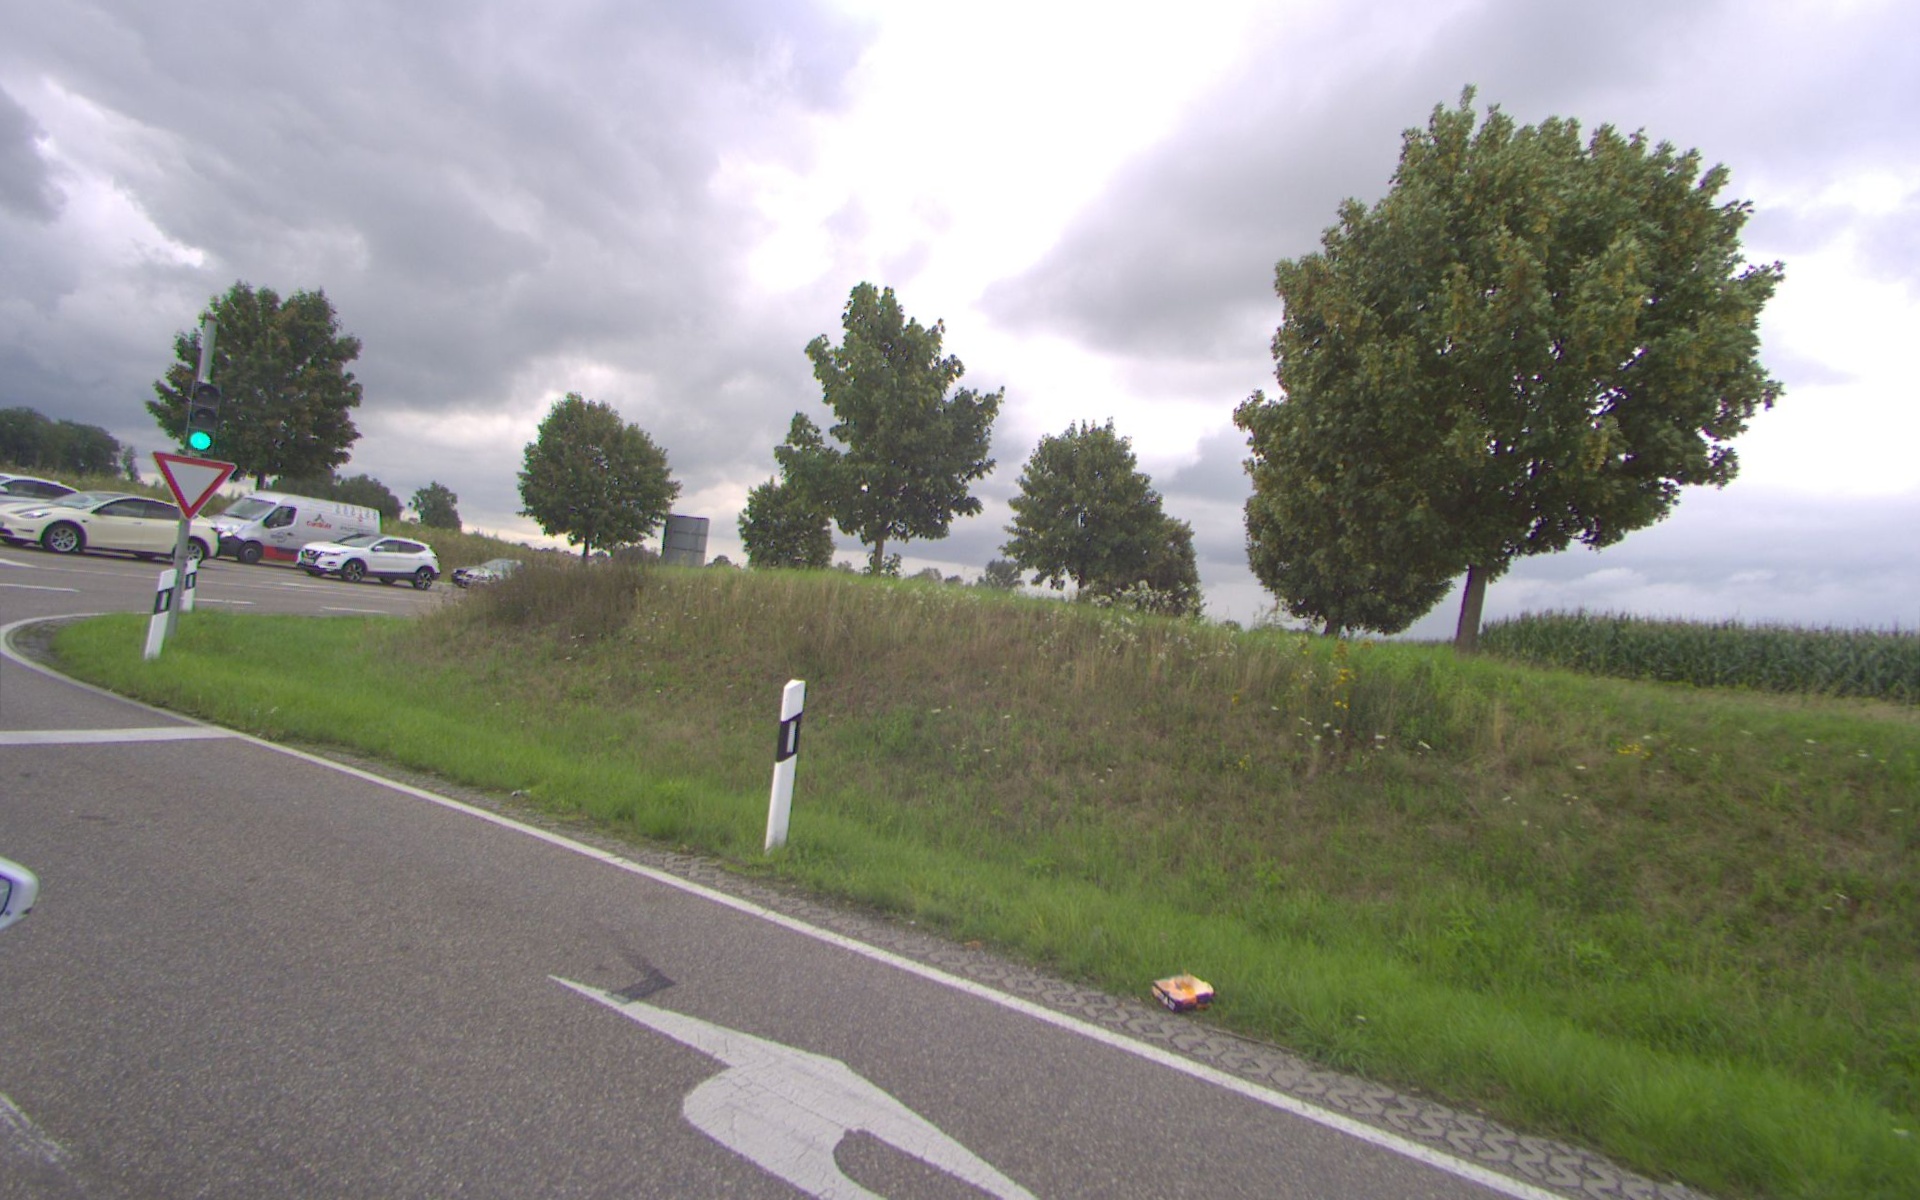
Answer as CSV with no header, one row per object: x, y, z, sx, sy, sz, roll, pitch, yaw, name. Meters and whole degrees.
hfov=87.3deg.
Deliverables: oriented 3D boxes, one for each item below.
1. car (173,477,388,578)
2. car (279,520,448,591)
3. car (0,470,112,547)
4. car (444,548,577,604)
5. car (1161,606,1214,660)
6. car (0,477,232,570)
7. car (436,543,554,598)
-22.760,-2.340,34.045,2.353,2.470,5.517,7,-2,19,car
-19.134,-1.377,32.508,1.963,1.648,4.326,7,-2,19,car
-25.073,-2.530,26.040,1.962,1.648,4.278,7,-2,18,car
-17.125,-0.872,38.637,1.963,1.471,4.585,8,-1,18,car
9.950,1.492,44.220,1.962,2.037,4.005,6,-2,11,car
-21.360,-1.863,25.169,1.962,1.583,4.752,7,-2,18,car
-19.320,-1.188,42.026,1.962,1.648,4.278,7,-2,19,car
